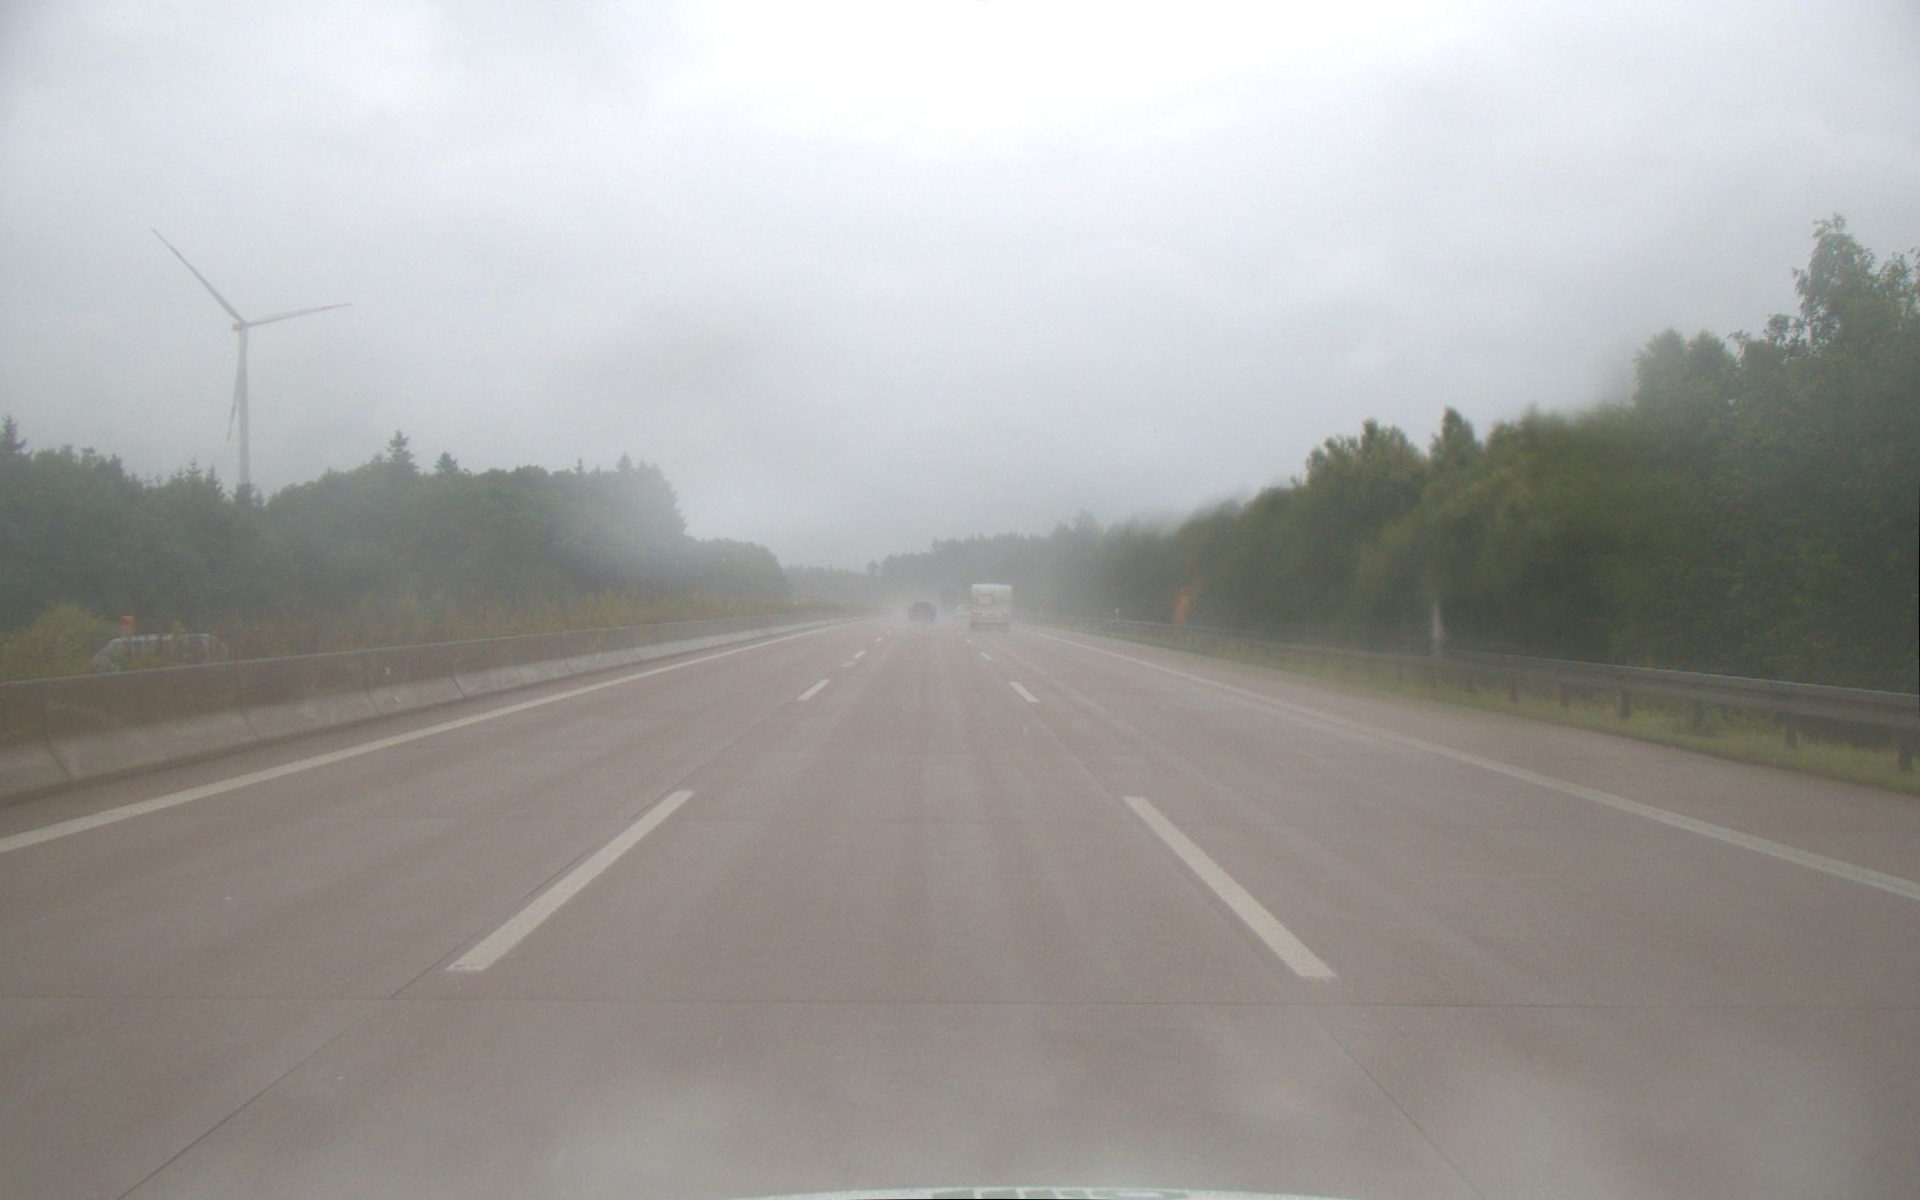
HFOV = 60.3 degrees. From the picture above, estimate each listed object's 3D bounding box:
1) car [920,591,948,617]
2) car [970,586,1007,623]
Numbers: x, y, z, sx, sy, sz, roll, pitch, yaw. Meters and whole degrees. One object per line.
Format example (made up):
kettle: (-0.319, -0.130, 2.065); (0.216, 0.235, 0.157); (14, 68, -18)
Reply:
car: (-1.774, 0.268, 113.829); (1.897, 1.760, 4.130); (0, 0, 0)
car: (1.588, 0.221, 93.164); (2.016, 2.034, 4.098); (0, 0, 0)
